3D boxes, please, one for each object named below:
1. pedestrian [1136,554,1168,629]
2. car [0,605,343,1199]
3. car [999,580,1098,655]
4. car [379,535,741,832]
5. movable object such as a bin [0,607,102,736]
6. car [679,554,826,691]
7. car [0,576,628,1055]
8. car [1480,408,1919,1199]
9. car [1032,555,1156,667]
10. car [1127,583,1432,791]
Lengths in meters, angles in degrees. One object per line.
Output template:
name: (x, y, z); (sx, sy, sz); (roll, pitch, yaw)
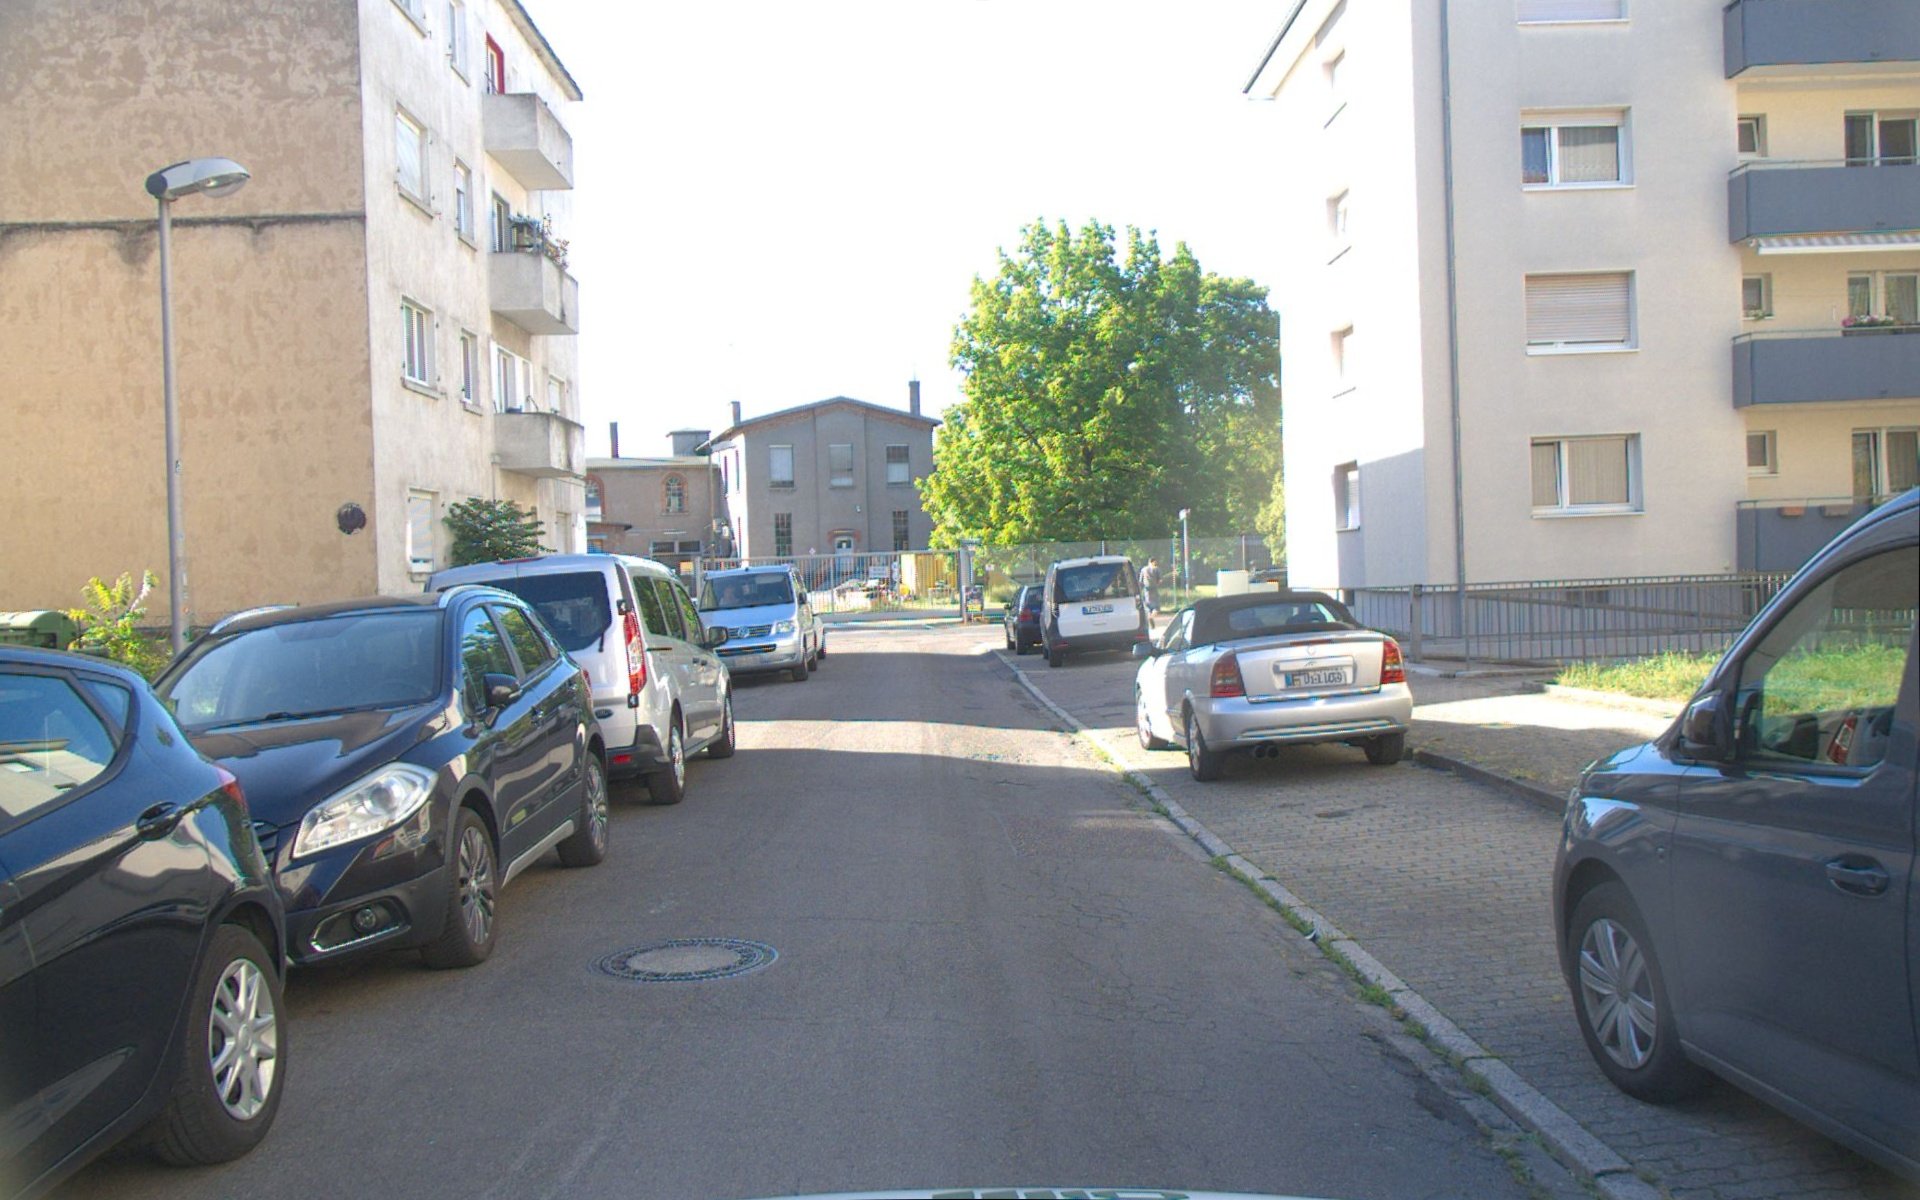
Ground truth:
pedestrian: (4.882, -0.216, 42.024); (0.640, 1.847, 0.614); (-4, 0, 8)
car: (-2.675, 0.822, 3.017); (1.625, 1.468, 3.870); (-5, 0, -2)
car: (1.855, 0.348, 35.815); (1.730, 1.386, 4.093); (-5, 0, -1)
car: (-2.968, 0.567, 13.228); (1.858, 1.887, 4.194); (-3, 0, -1)
movable object such as a bin: (-12.098, 0.920, 21.565); (1.047, 1.566, 1.356); (-5, 0, -4)
car: (-3.526, 0.359, 28.873); (1.954, 2.048, 4.453); (-5, 0, -1)
car: (-2.858, 0.755, 7.774); (1.796, 1.541, 3.998); (-5, 0, -2)
car: (2.885, 0.503, 3.661); (1.859, 1.887, 4.341); (-3, 0, -2)
car: (2.375, 0.178, 30.227); (1.730, 1.769, 4.093); (-5, 0, -1)
car: (2.557, 0.636, 14.187); (1.683, 1.387, 4.054); (-5, 0, -1)
